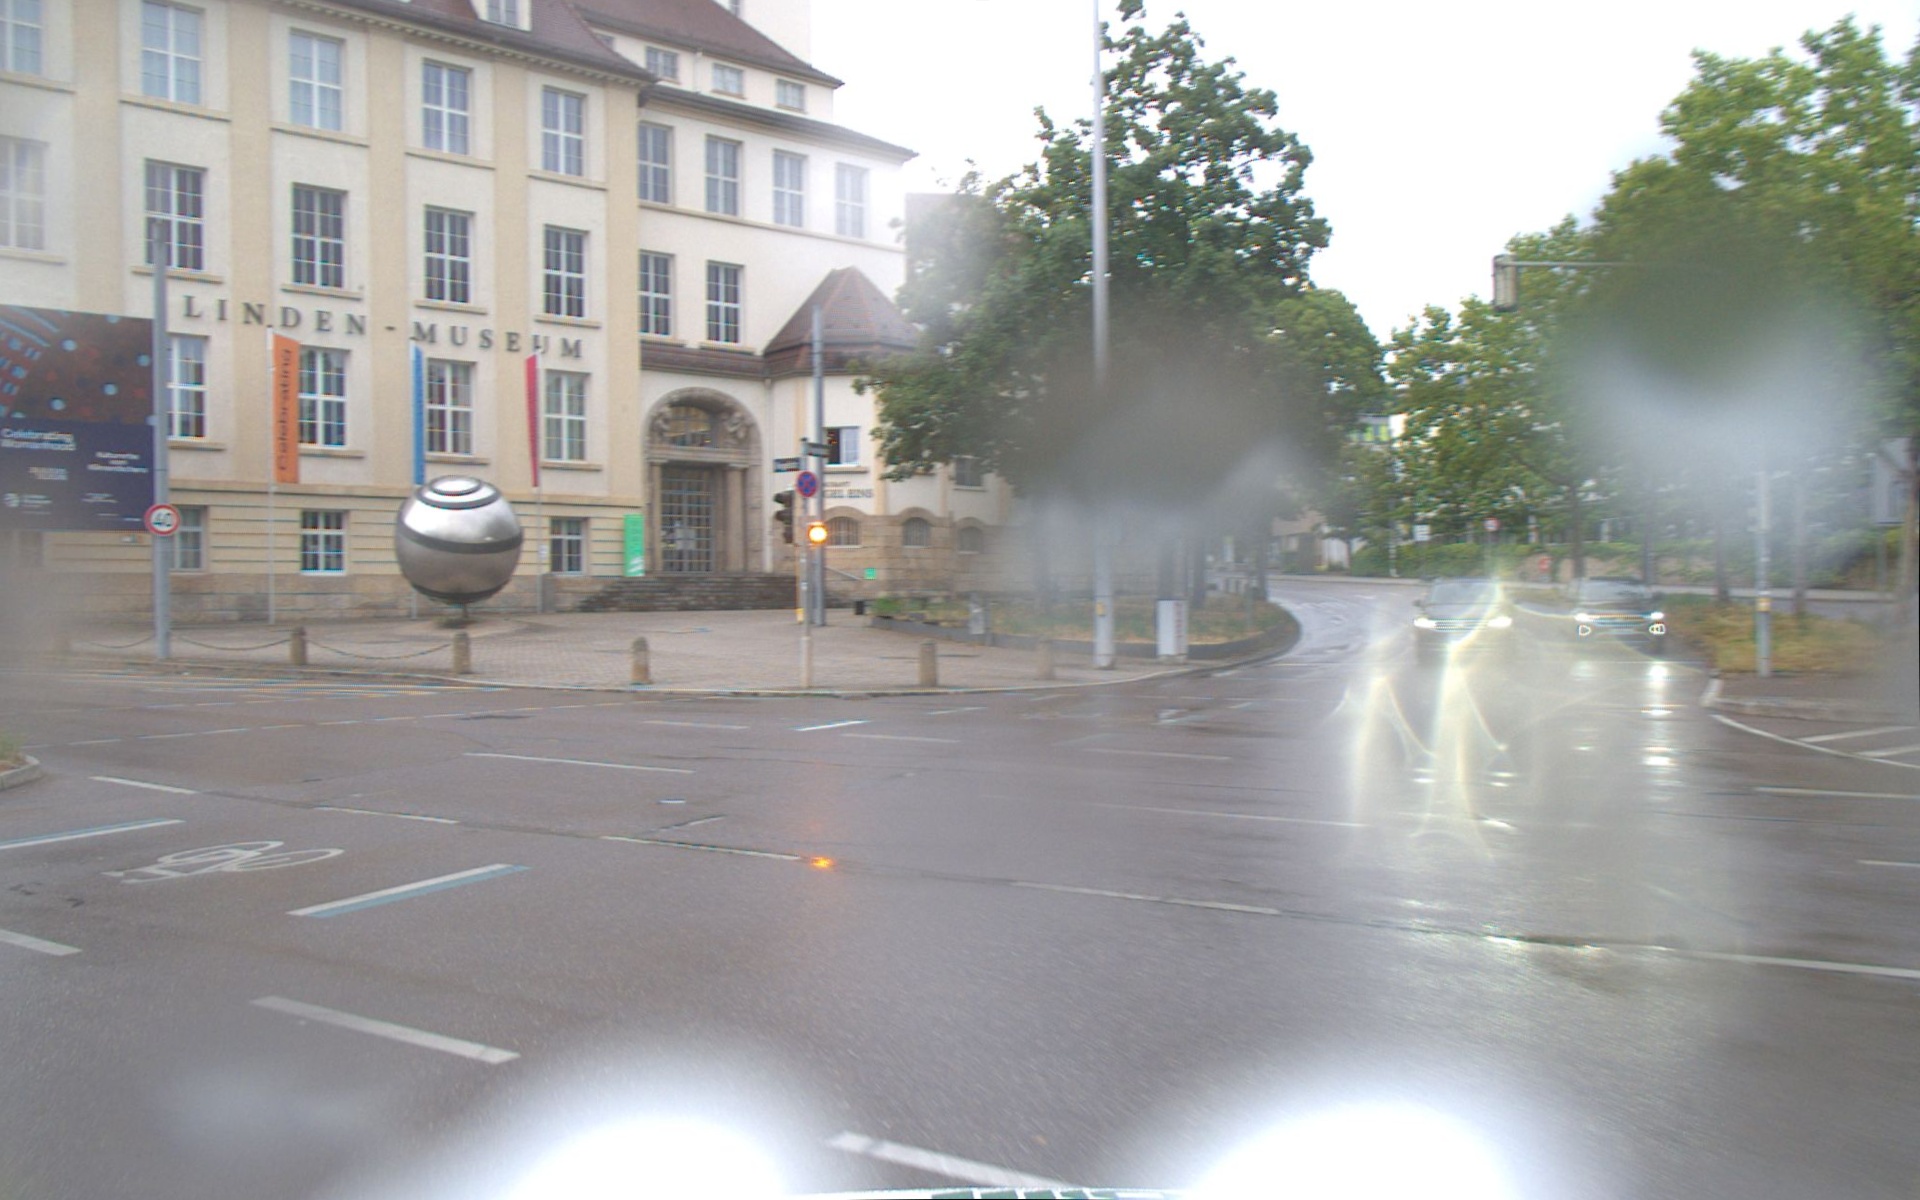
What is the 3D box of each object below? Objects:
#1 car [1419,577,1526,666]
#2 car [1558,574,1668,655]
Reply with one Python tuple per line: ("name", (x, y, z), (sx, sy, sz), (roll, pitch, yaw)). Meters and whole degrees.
("car", (10.269, 0.379, 32.950), (1.829, 1.592, 4.278), (-1, 1, 20))
("car", (13.813, 0.274, 35.167), (1.751, 1.612, 4.003), (-1, 1, 15))
